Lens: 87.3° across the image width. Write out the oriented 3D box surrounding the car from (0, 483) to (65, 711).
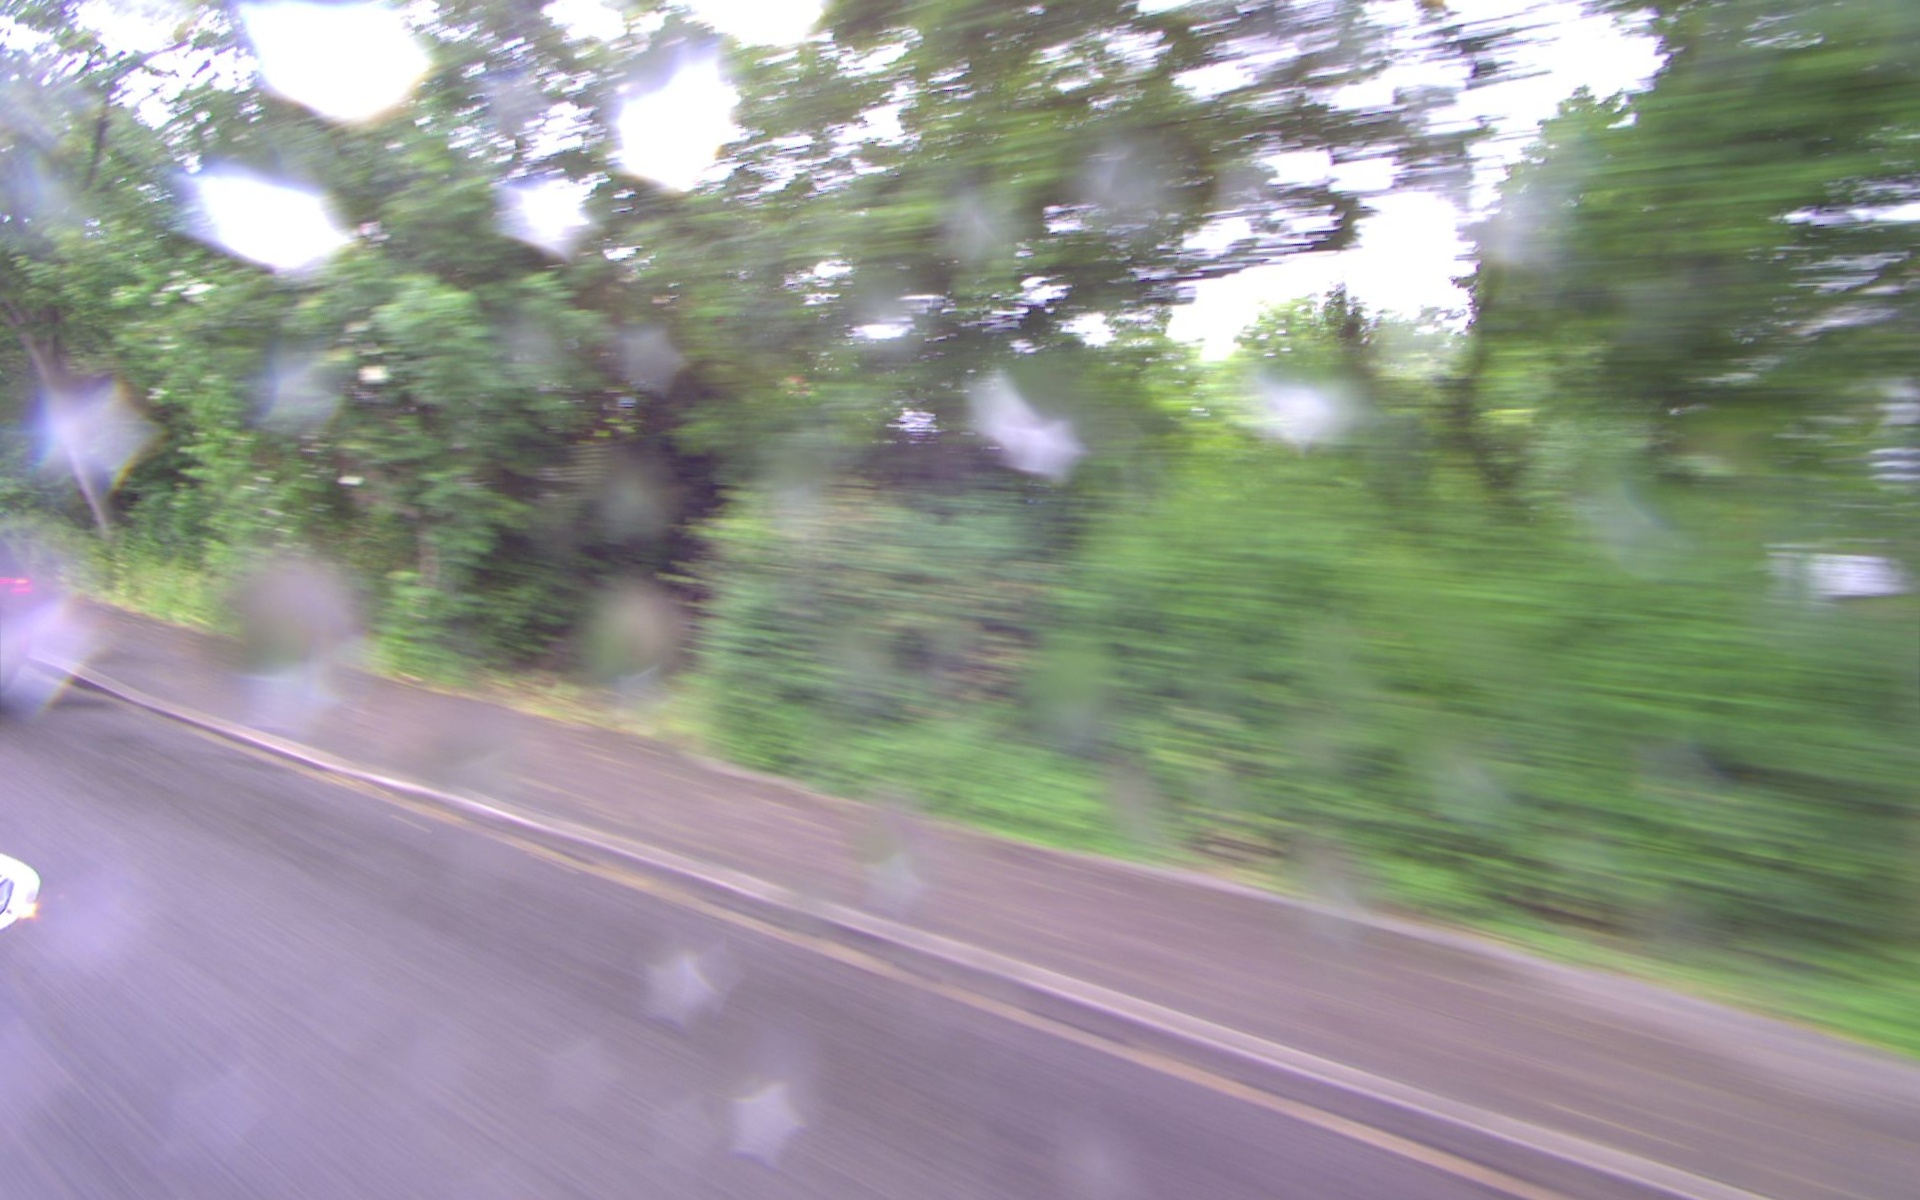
[{"bbox_3d":[-8.405,-0.257,7.157,3.609,1.554,1.769,7,-2,28],"label":"car"}]
